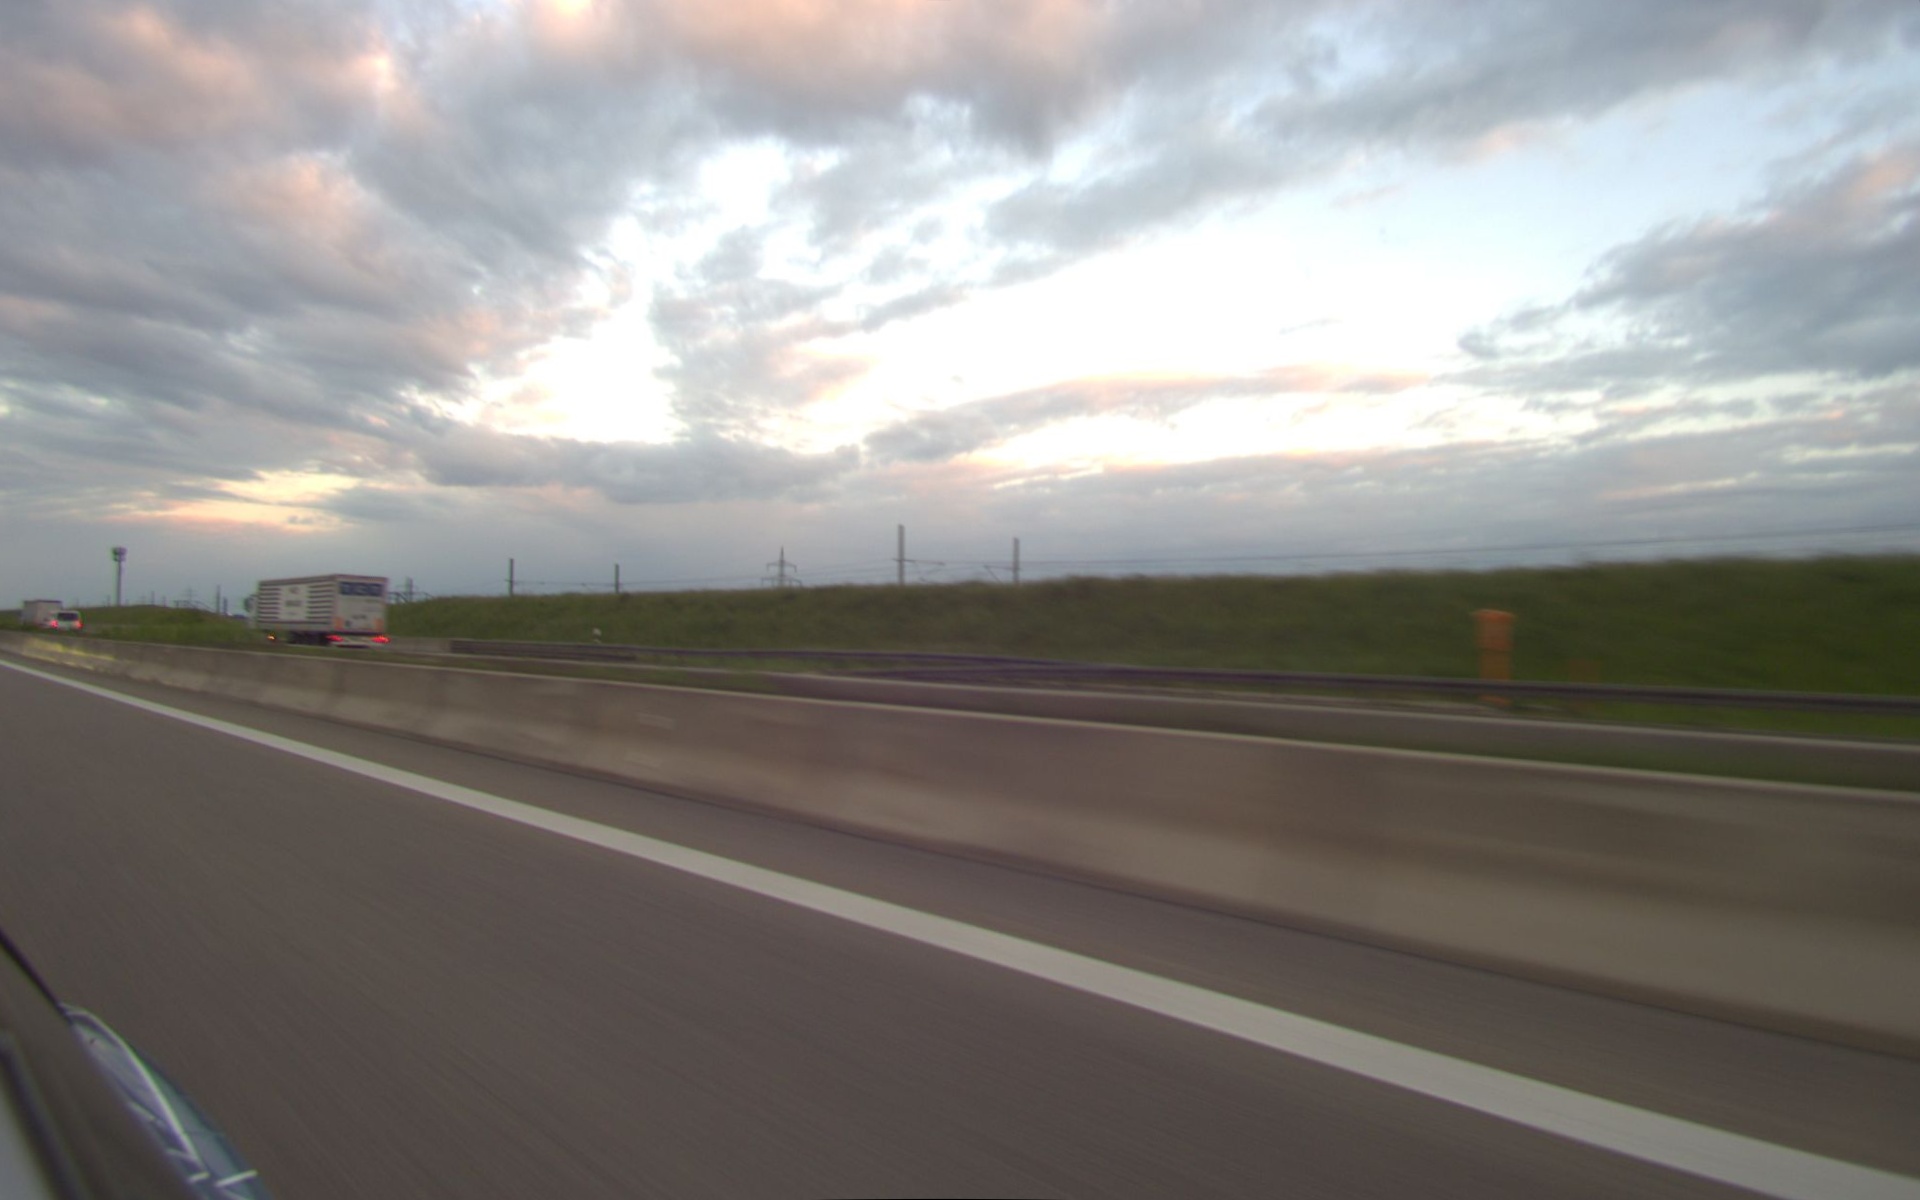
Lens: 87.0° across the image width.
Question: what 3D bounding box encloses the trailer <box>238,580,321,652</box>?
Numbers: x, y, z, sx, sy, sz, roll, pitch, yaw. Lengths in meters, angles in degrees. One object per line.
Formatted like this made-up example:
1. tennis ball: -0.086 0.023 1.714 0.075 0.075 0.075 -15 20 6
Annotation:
1. trailer: -42.028 1.044 62.395 6.939 4.146 2.657 -1 -4 43

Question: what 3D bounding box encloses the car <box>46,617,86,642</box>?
1. car: -84.732 2.787 95.884 6.491 2.362 2.105 -1 -3 42

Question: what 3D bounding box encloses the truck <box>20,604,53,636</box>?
1. truck: -127.955 2.763 140.163 6.738 4.385 2.787 -2 -1 43

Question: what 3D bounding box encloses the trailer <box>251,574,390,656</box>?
1. trailer: -36.468 0.919 57.246 15.107 4.146 2.657 -1 -3 43

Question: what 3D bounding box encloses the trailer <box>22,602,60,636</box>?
1. trailer: -123.337 2.620 135.773 12.840 4.385 2.786 -2 -1 44
